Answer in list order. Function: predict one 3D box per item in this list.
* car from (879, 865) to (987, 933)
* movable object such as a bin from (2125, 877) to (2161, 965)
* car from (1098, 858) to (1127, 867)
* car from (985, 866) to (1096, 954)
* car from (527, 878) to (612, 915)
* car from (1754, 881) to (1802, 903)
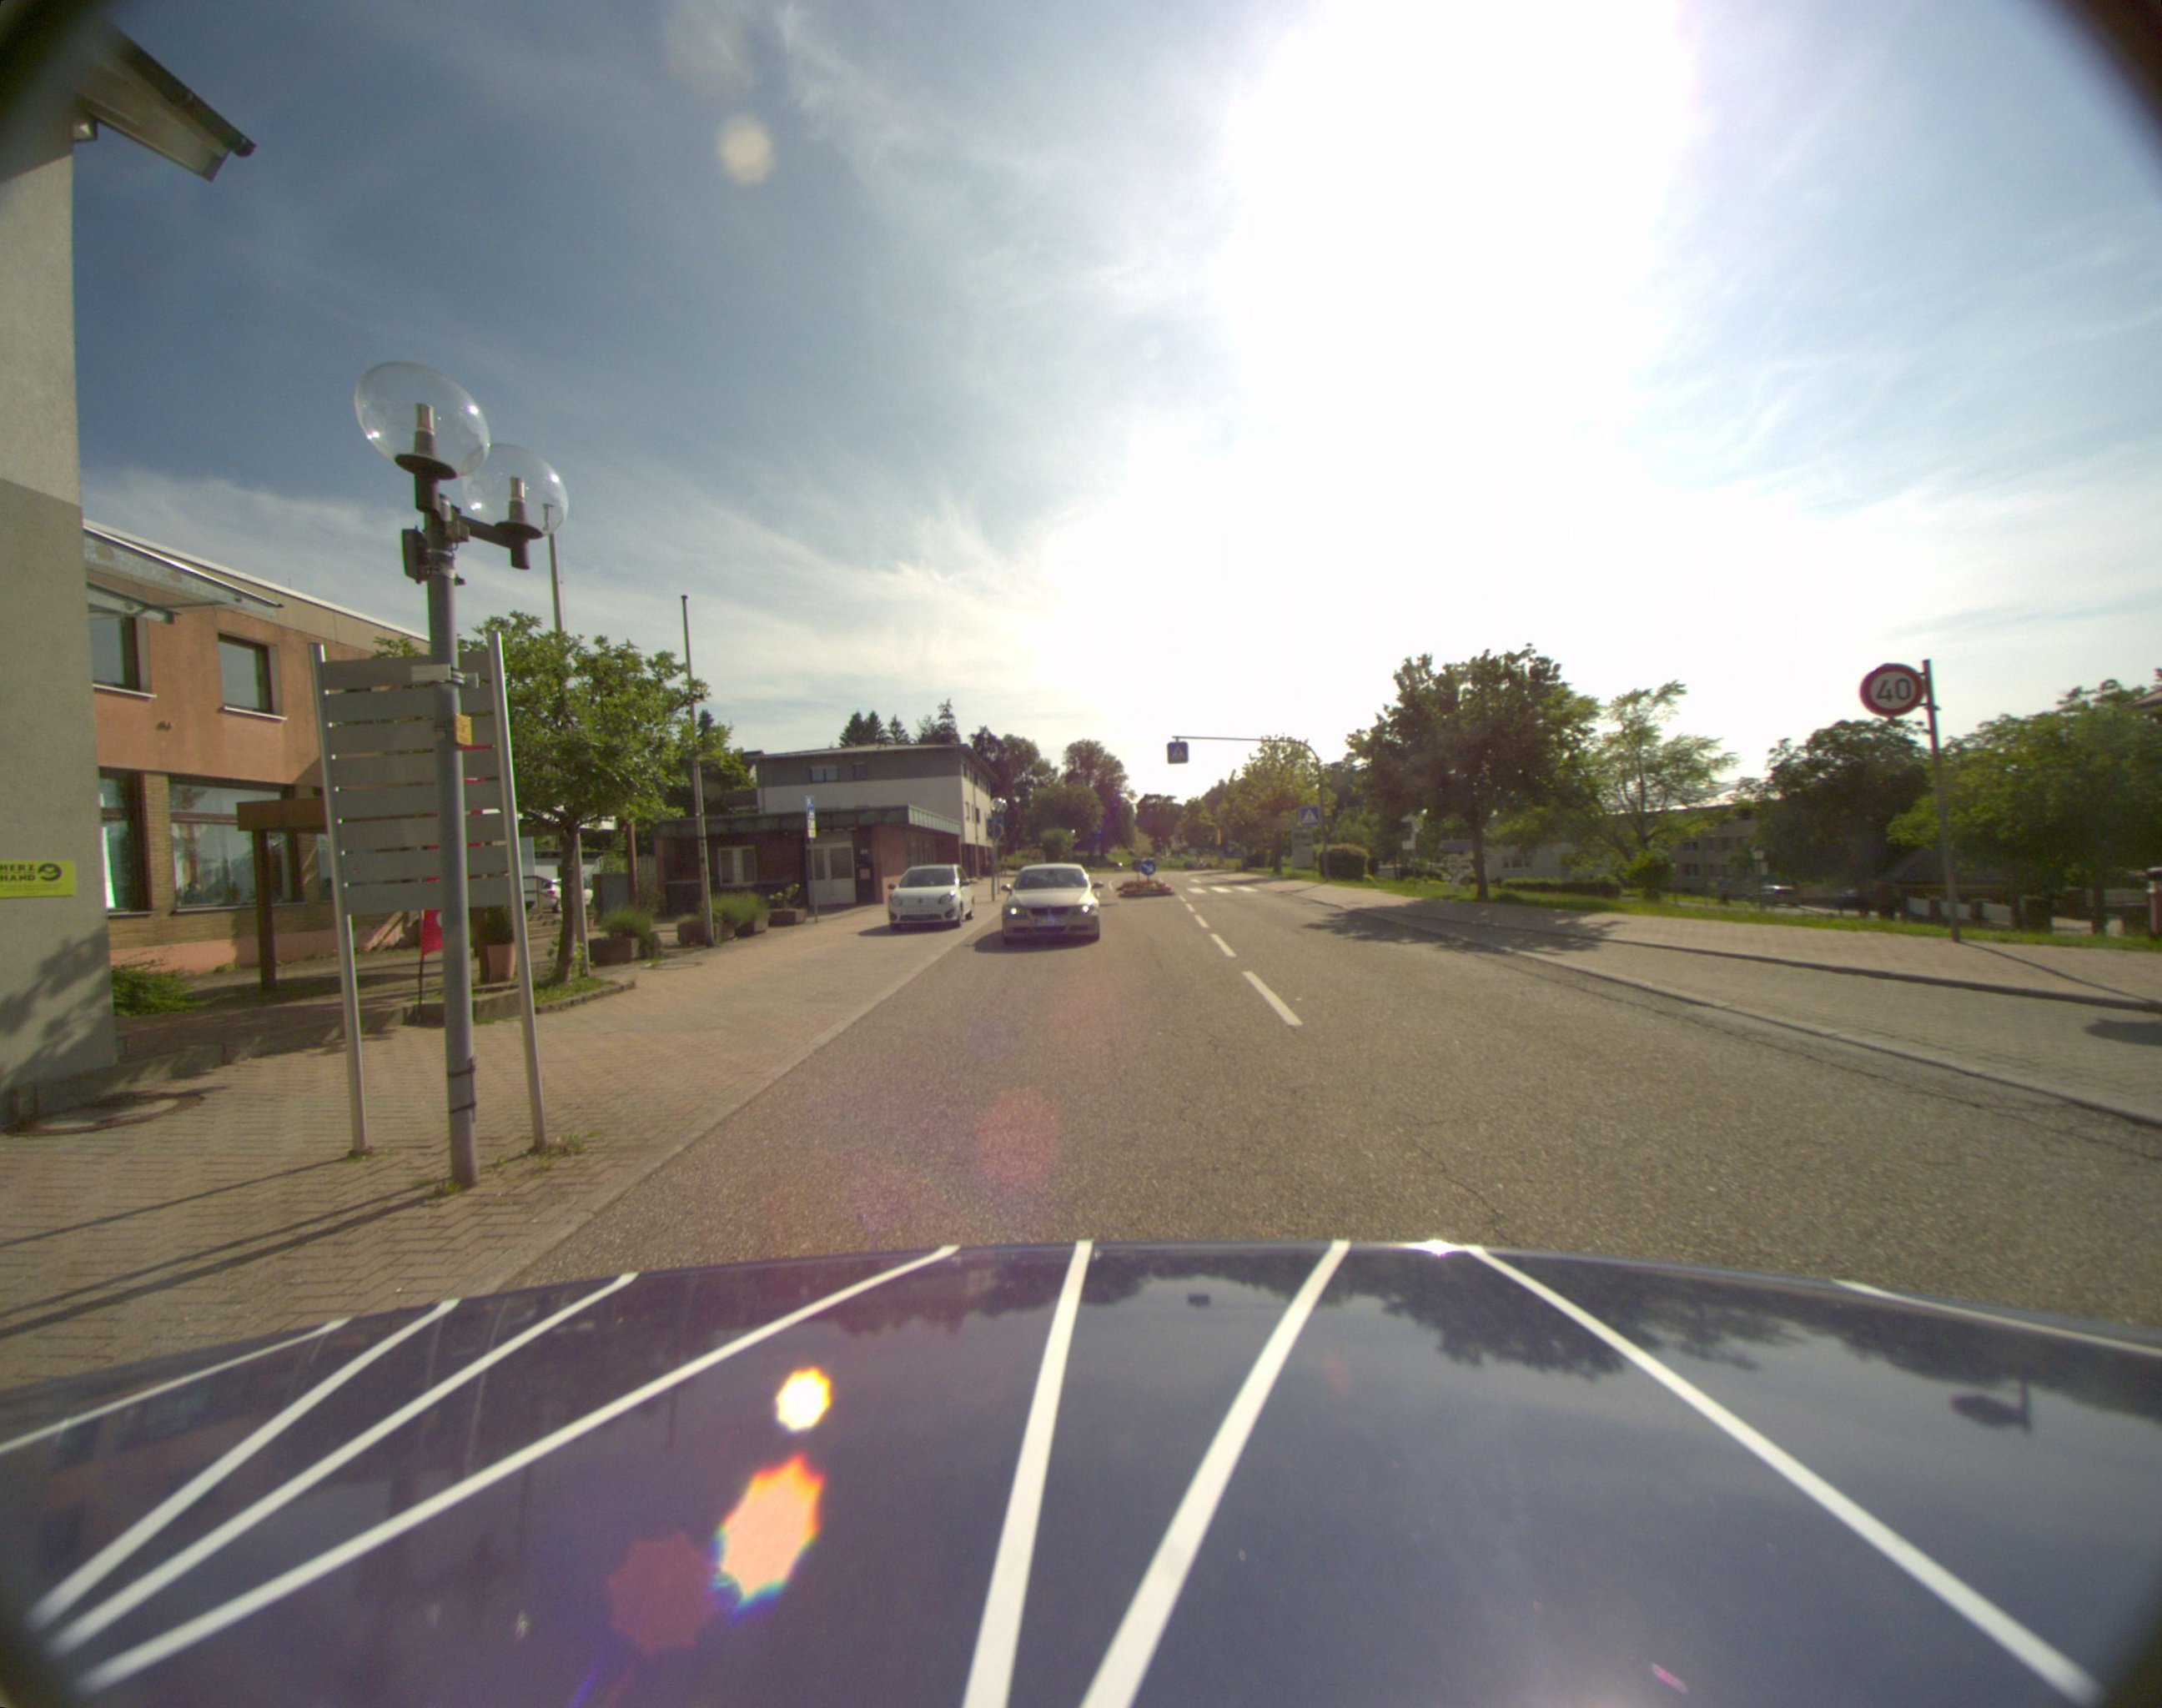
[{"bbox_3d":[-3.484,1.023,18.480,1.764,1.415,3.634,-1,0,2],"label":"car"},{"bbox_3d":[10.515,0.647,7.296,0.305,0.832,0.485,-1,1,-3],"label":"movable object such as a bin"},{"bbox_3d":[4.826,1.322,117.122,4.255,1.420,1.706,-1,0,34],"label":"car"},{"bbox_3d":[-0.647,0.989,15.153,1.838,1.360,4.581,-1,0,1],"label":"car"},{"bbox_3d":[-22.744,1.864,33.902,1.491,1.475,3.315,0,0,1],"label":"car"},{"bbox_3d":[55.628,3.029,60.728,1.565,1.630,2.975,0,-1,13],"label":"car"}]
